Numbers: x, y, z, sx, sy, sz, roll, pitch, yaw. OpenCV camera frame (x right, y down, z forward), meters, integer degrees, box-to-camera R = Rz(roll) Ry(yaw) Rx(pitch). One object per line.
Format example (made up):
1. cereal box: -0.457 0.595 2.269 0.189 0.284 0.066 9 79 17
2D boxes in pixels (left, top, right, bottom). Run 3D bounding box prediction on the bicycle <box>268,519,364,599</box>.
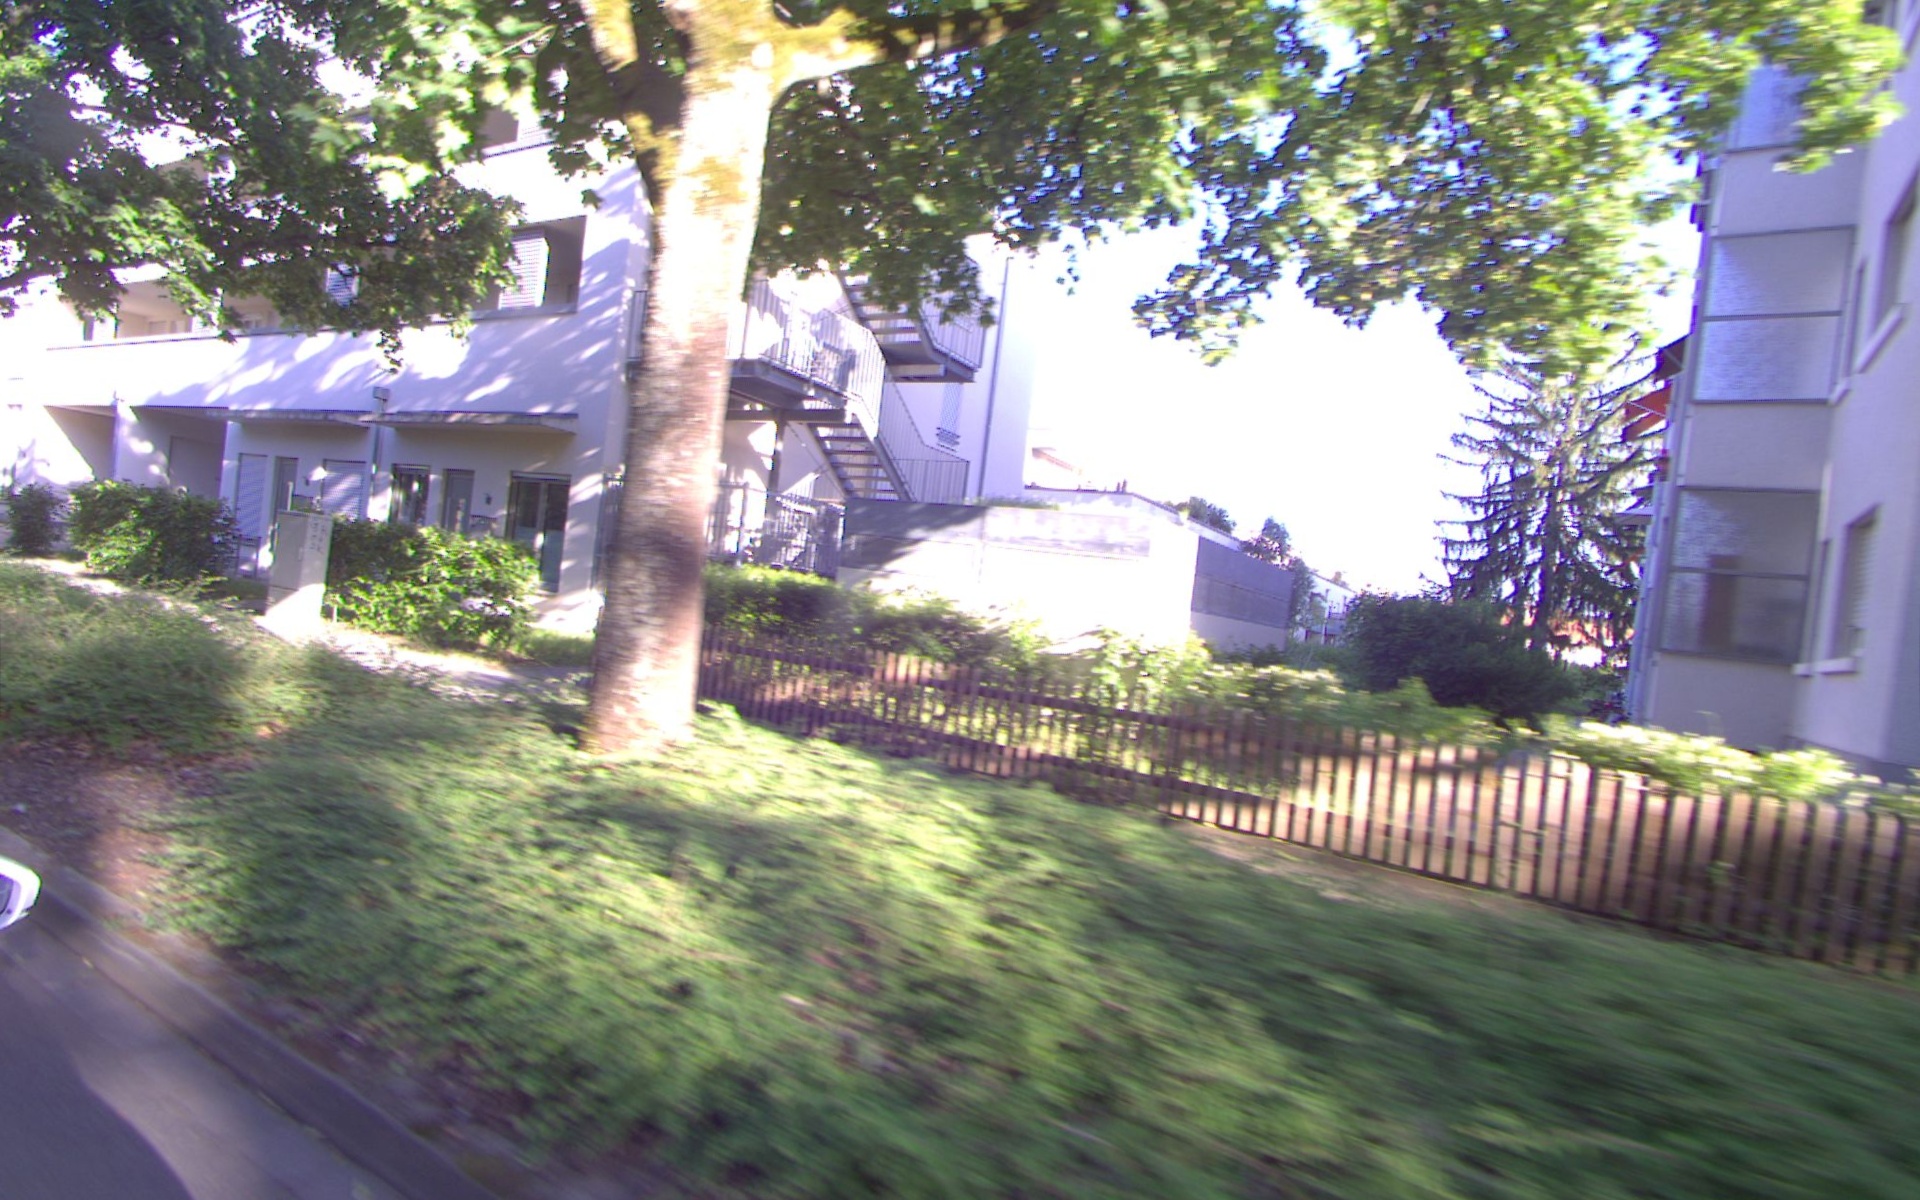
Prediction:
1. bicycle: -11.384 -0.735 17.772 1.724 1.205 0.618 7 0 31
